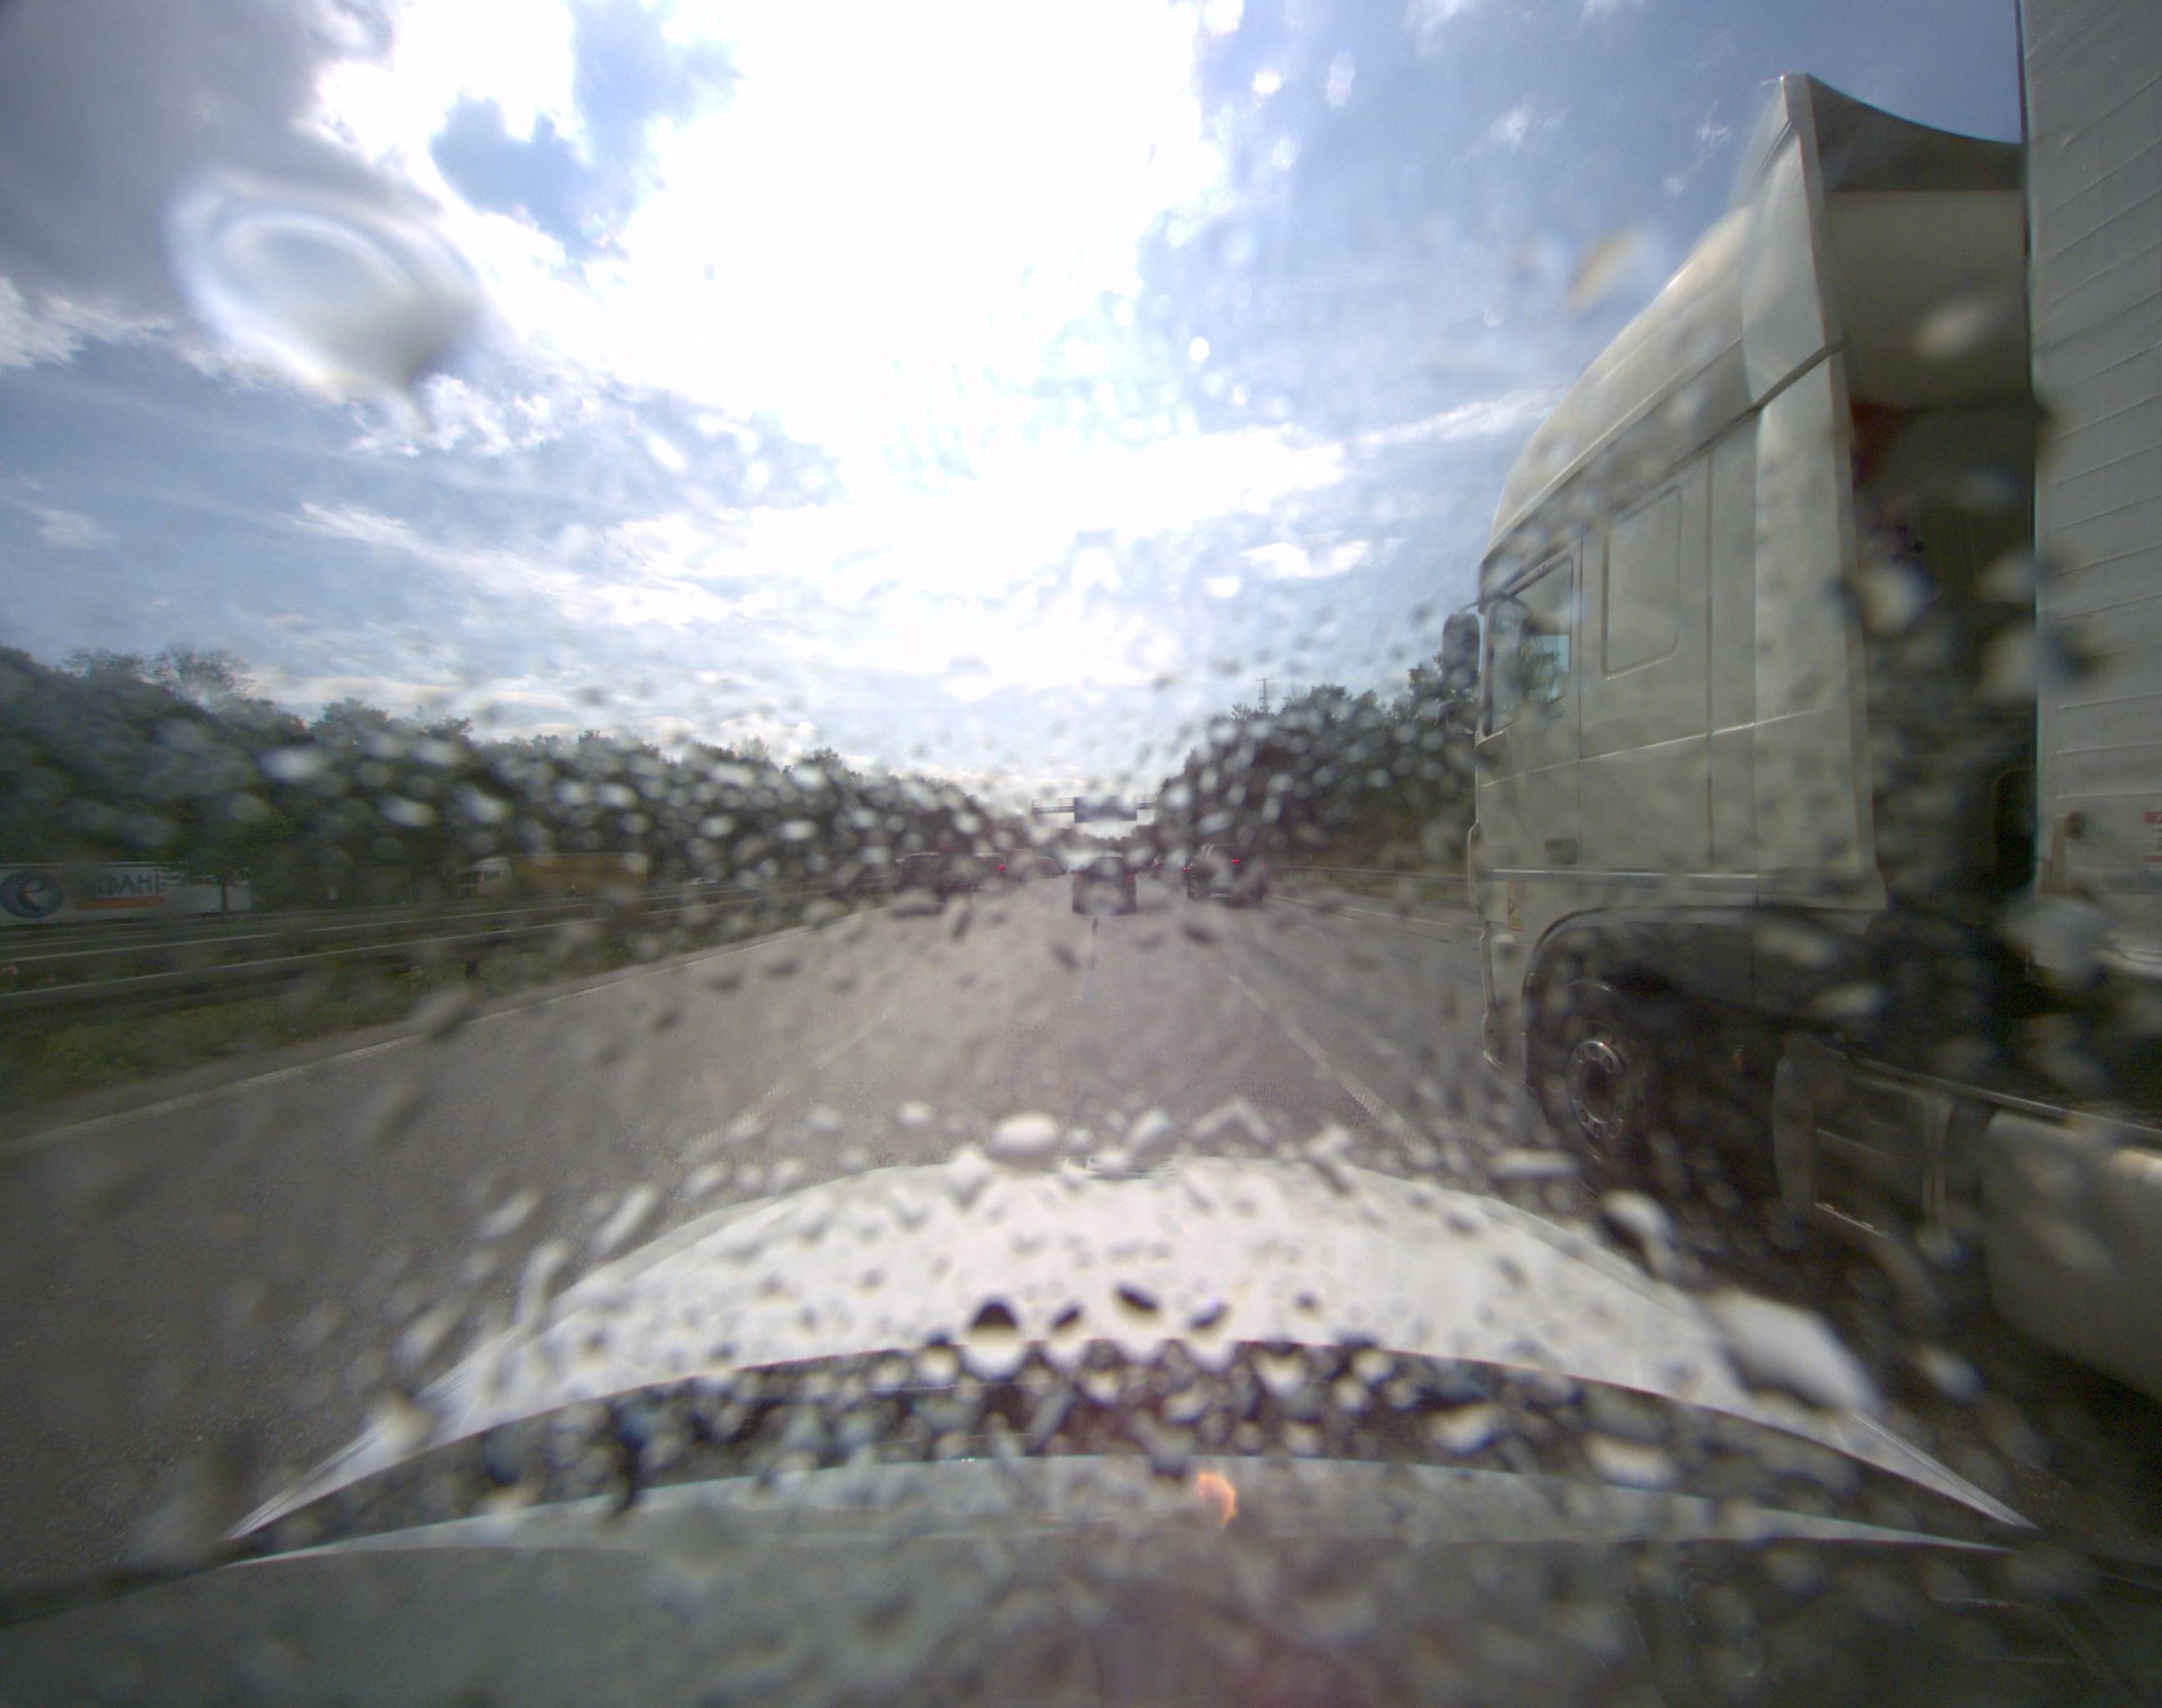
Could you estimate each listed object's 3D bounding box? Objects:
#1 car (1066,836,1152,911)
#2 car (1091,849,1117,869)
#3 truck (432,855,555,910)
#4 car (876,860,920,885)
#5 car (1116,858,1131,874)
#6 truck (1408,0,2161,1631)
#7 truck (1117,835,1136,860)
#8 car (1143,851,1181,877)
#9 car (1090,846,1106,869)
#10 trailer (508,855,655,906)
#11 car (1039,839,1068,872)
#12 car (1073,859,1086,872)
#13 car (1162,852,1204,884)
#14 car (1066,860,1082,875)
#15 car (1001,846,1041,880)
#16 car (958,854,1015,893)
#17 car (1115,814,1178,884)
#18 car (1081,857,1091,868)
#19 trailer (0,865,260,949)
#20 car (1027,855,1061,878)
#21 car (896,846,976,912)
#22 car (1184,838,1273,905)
[{"bbox_3d":[0.740,0.536,23.914,2.267,1.954,4.820,-1,-1,0],"label":"car"},{"bbox_3d":[1.728,0.391,62.355,1.859,1.516,3.974,-1,-1,-1],"label":"car"},{"bbox_3d":[-46.155,2.171,64.274,3.760,4.117,7.073,-1,-1,15],"label":"truck"},{"bbox_3d":[-15.587,1.540,69.688,2.166,2.046,6.501,-1,-1,1],"label":"car"},{"bbox_3d":[5.849,1.594,111.880,1.986,2.115,4.891,-1,-1,2],"label":"car"},{"bbox_3d":[3.609,-0.530,1.767,3.273,3.891,6.396,0,0,0],"label":"truck"},{"bbox_3d":[6.977,-0.993,124.480,2.765,3.632,5.919,-1,-1,2],"label":"truck"},{"bbox_3d":[4.955,0.612,50.176,1.859,1.516,3.974,-1,-1,-1],"label":"car"},{"bbox_3d":[2.163,0.459,104.205,1.986,2.746,5.261,-1,-1,2],"label":"car"},{"bbox_3d":[-43.981,2.223,72.457,3.760,4.117,11.771,-1,-1,15],"label":"trailer"},{"bbox_3d":[-2.258,0.173,67.435,1.986,2.615,5.261,-1,-1,2],"label":"car"},{"bbox_3d":[-0.287,1.970,139.648,1.986,2.115,4.891,-1,-1,2],"label":"car"},{"bbox_3d":[5.089,0.706,40.897,1.586,1.516,3.974,-1,-1,0],"label":"car"},{"bbox_3d":[-1.012,1.870,113.467,1.986,2.115,4.891,-1,-1,2],"label":"car"},{"bbox_3d":[-3.678,0.553,50.825,1.971,2.054,4.758,-1,-1,2],"label":"car"},{"bbox_3d":[-4.307,0.858,37.687,1.901,1.636,4.619,-2,-1,2],"label":"car"},{"bbox_3d":[5.920,-0.337,77.295,4.391,5.830,16.811,-1,-1,-1],"label":"car"},{"bbox_3d":[1.051,1.739,164.671,1.986,2.115,4.891,-1,-1,2],"label":"car"},{"bbox_3d":[-50.674,2.561,42.620,3.767,3.649,10.523,-2,0,8],"label":"trailer"},{"bbox_3d":[-2.551,0.885,57.468,1.986,1.565,4.758,-1,-1,2],"label":"car"},{"bbox_3d":[-4.245,0.705,24.420,1.687,1.805,3.974,-1,-1,0],"label":"car"},{"bbox_3d":[4.601,0.530,26.269,1.935,1.919,5.652,-1,-1,1],"label":"car"}]
